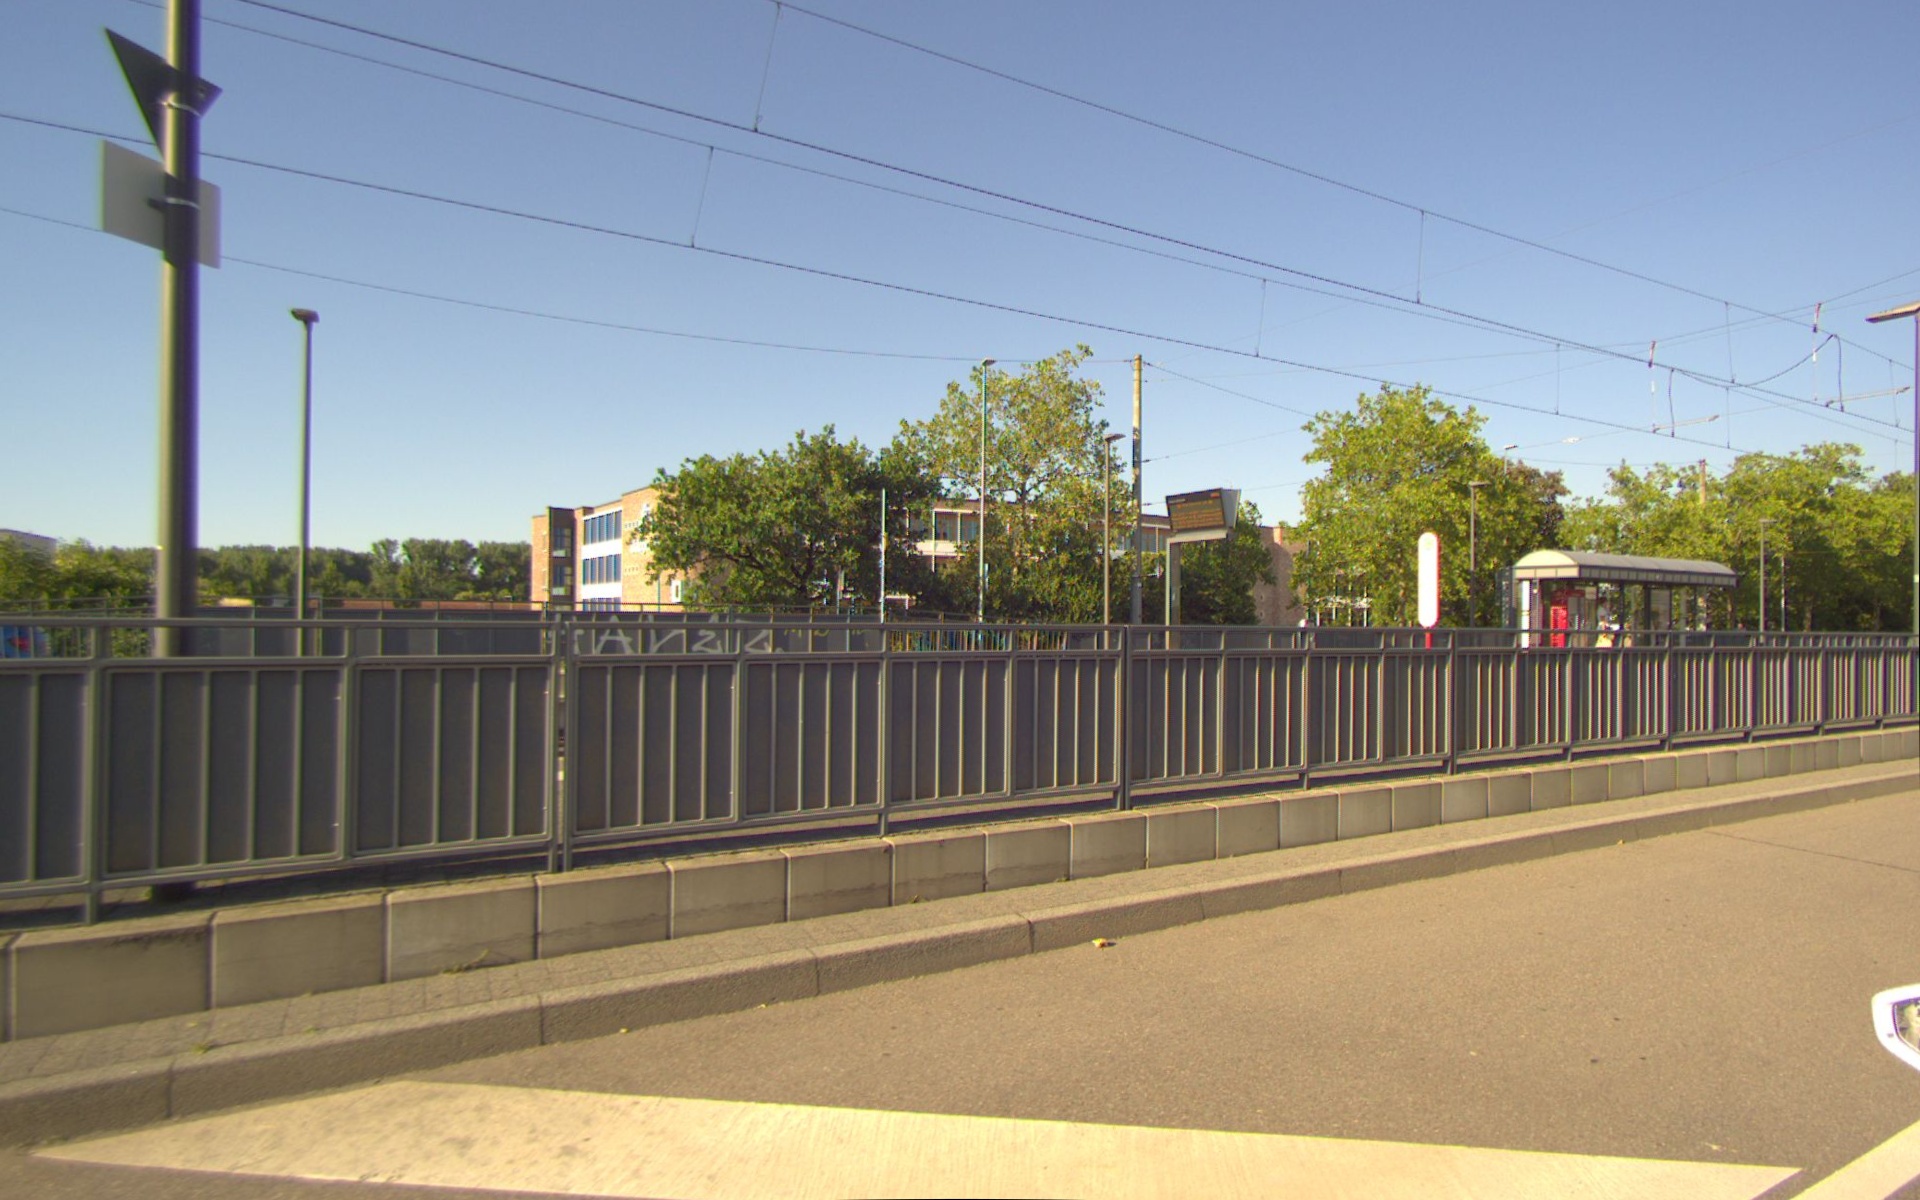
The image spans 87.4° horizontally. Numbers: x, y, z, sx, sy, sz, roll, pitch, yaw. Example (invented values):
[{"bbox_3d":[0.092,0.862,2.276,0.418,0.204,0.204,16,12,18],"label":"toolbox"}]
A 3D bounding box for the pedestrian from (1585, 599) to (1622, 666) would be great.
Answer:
[{"bbox_3d":[17.559,0.880,27.430,0.576,1.780,0.701,1,0,6],"label":"pedestrian"}]

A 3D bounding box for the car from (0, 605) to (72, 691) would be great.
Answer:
[{"bbox_3d":[-18.154,0.806,17.308,3.952,1.465,1.725,1,-1,-30],"label":"car"}]
